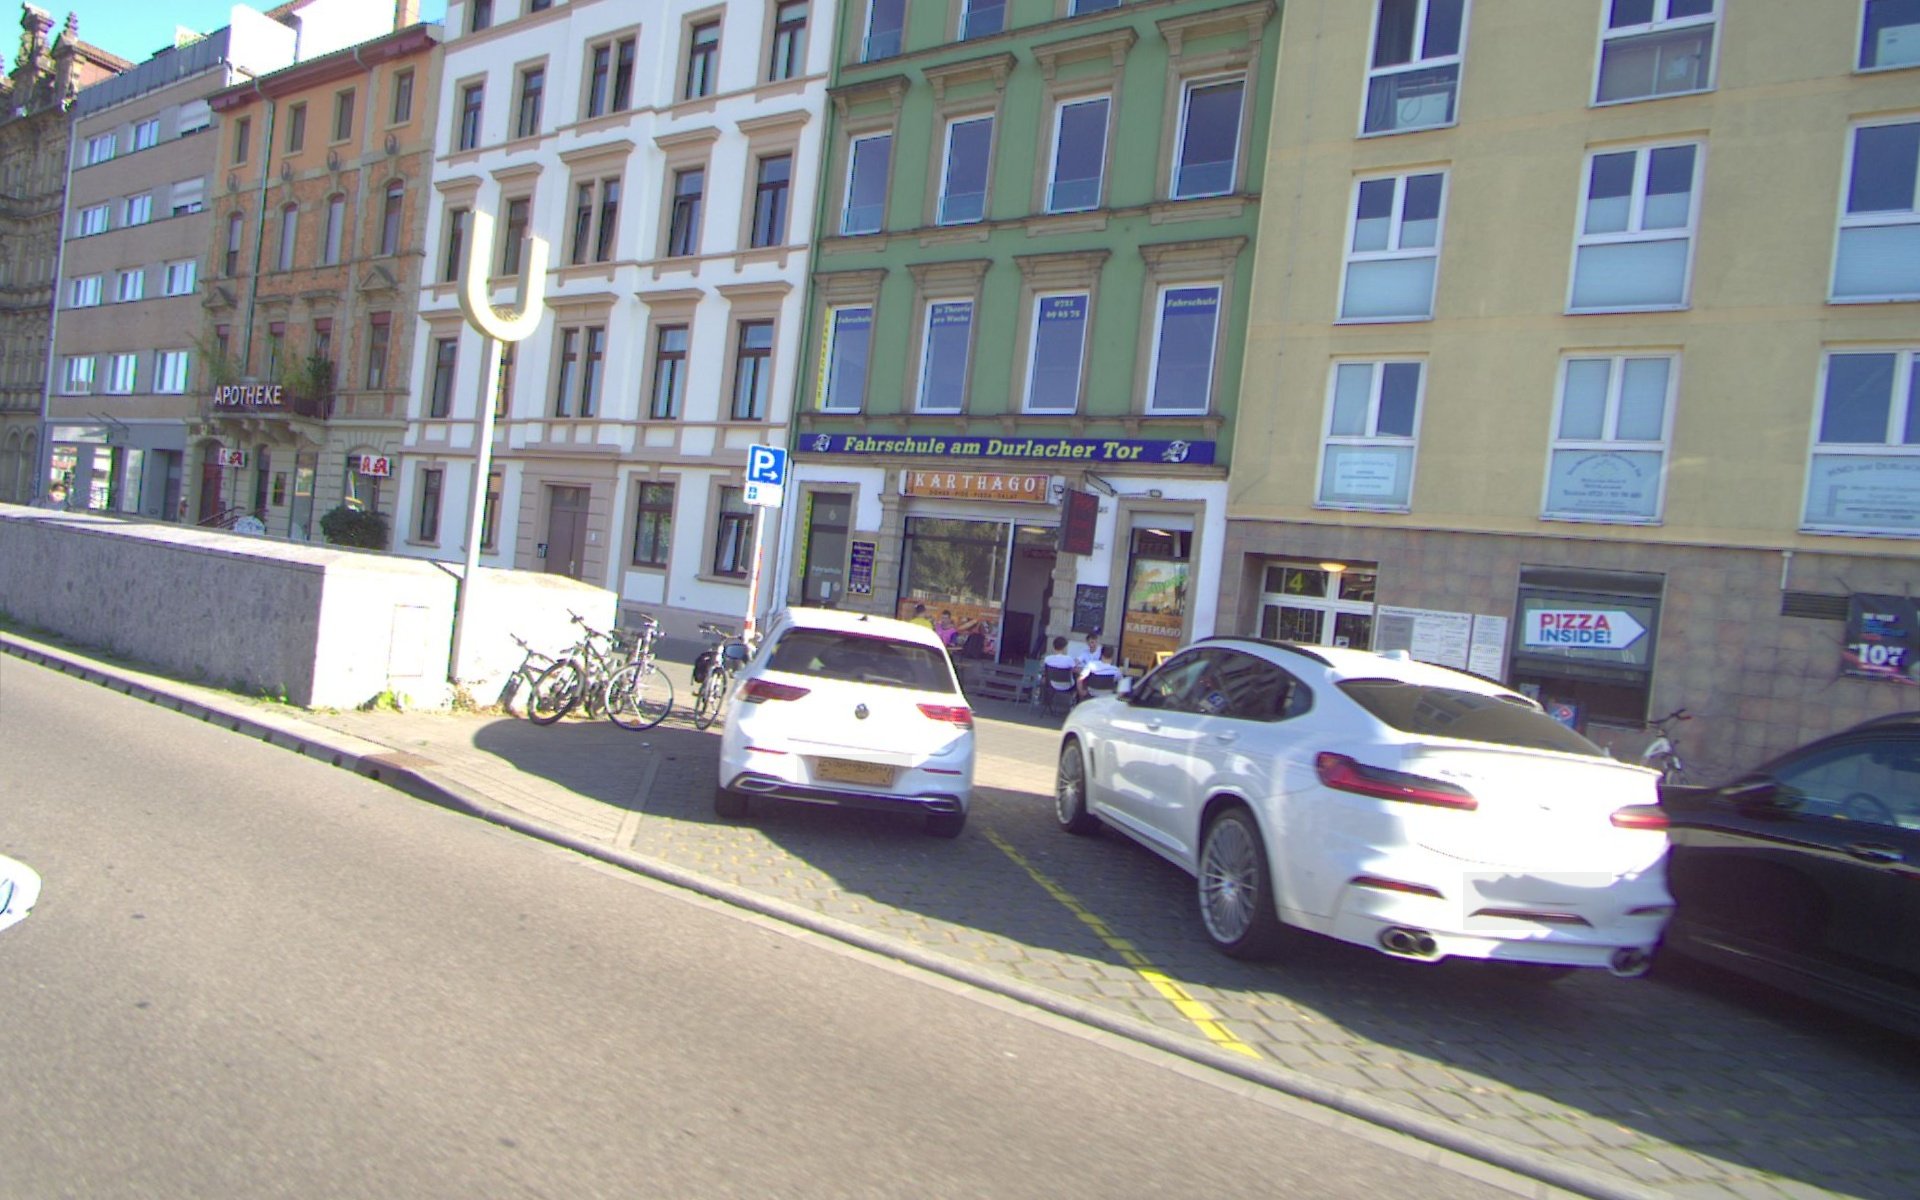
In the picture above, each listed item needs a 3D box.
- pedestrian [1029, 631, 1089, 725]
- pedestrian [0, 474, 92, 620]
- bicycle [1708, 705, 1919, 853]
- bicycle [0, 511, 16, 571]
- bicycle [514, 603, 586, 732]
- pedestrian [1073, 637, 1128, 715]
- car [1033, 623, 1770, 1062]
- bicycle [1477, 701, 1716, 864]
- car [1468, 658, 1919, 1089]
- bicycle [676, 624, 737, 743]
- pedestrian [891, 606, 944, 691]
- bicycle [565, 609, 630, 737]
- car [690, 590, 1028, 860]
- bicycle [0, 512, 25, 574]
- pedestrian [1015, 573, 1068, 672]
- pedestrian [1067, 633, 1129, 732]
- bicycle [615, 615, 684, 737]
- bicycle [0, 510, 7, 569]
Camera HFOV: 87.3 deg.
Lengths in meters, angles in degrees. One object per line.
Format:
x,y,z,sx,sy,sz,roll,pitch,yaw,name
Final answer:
1.484,1.168,15.119,0.583,1.335,0.514,7,1,38,pedestrian
-13.655,-0.772,15.016,0.686,2.040,0.751,10,3,31,pedestrian
10.217,2.028,11.038,3.010,1.279,0.986,7,0,30,bicycle
-20.025,-1.282,19.949,0.462,1.193,1.768,8,0,31,bicycle
-3.940,0.621,9.714,0.413,1.123,1.091,8,-1,-17,bicycle
2.264,1.220,16.219,0.583,1.174,0.514,7,1,38,pedestrian
2.075,1.108,6.269,1.929,1.589,4.242,8,-1,-13,car
7.632,2.126,12.163,2.193,1.375,0.930,10,3,35,bicycle
4.830,1.316,4.792,1.929,1.616,4.243,8,-1,-12,car
-2.699,0.855,10.660,0.413,1.123,1.091,8,-1,-17,bicycle
-0.705,0.808,16.849,0.581,1.335,0.516,7,1,24,pedestrian
-3.531,0.688,9.854,0.413,1.123,1.091,8,-1,-17,bicycle
-0.947,0.778,8.204,1.929,1.482,4.106,7,-1,-10,car
-19.610,-1.213,19.690,0.462,1.193,1.768,8,0,31,bicycle
1.497,0.417,18.483,0.584,1.733,0.514,7,1,43,pedestrian
1.993,1.188,14.534,0.583,1.335,0.514,7,1,38,pedestrian
-3.230,0.764,10.464,0.502,1.123,1.091,8,-1,-17,bicycle
-20.447,-1.333,20.192,0.462,1.202,1.768,8,0,31,bicycle
